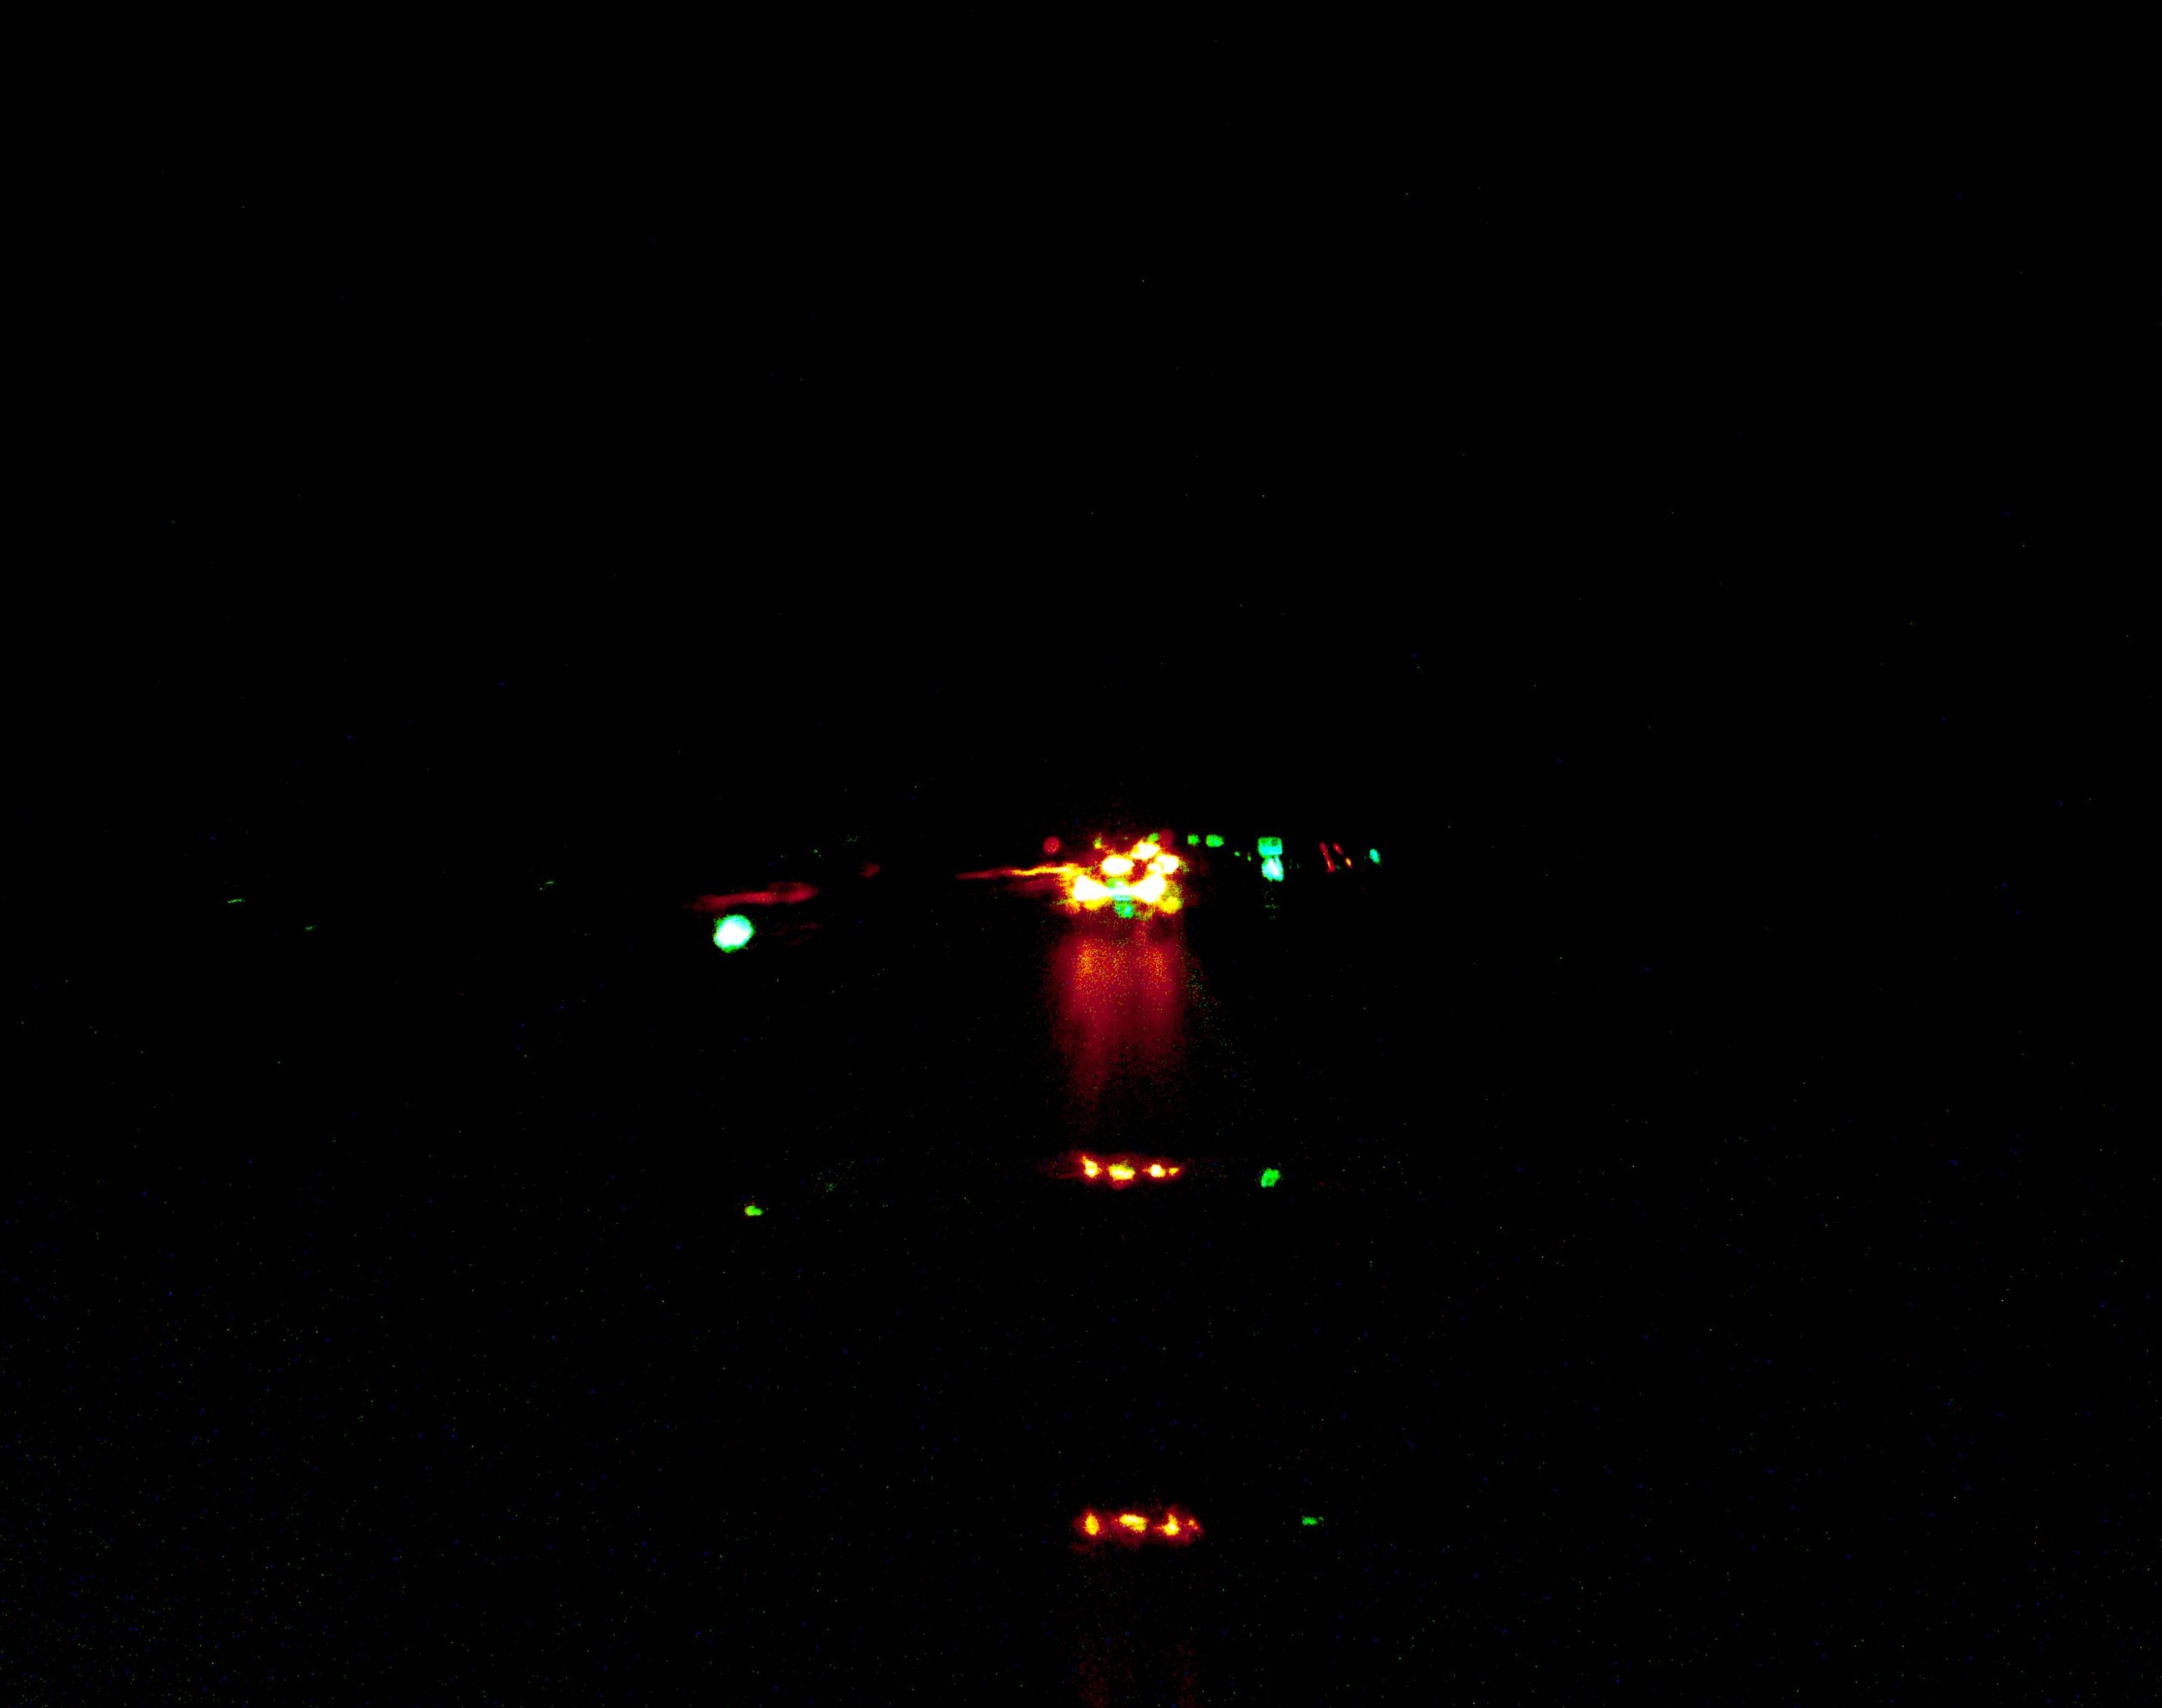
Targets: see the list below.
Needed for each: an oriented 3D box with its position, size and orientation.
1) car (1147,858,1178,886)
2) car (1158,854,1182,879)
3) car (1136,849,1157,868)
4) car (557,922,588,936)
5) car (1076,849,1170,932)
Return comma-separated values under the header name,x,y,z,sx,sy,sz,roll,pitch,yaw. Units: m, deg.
name,x,y,z,sx,sy,sz,roll,pitch,yaw
car,5.407,1.163,53.547,1.885,1.721,4.053,-1,-1,7
car,7.633,1.125,69.453,1.884,2.041,4.054,-1,-2,8
car,7.326,0.518,91.758,1.890,1.998,4.042,-1,-1,-2
car,-57.414,8.462,91.891,4.047,1.425,1.757,-5,-3,40
car,0.932,0.736,18.245,1.853,1.647,4.071,0,0,3
